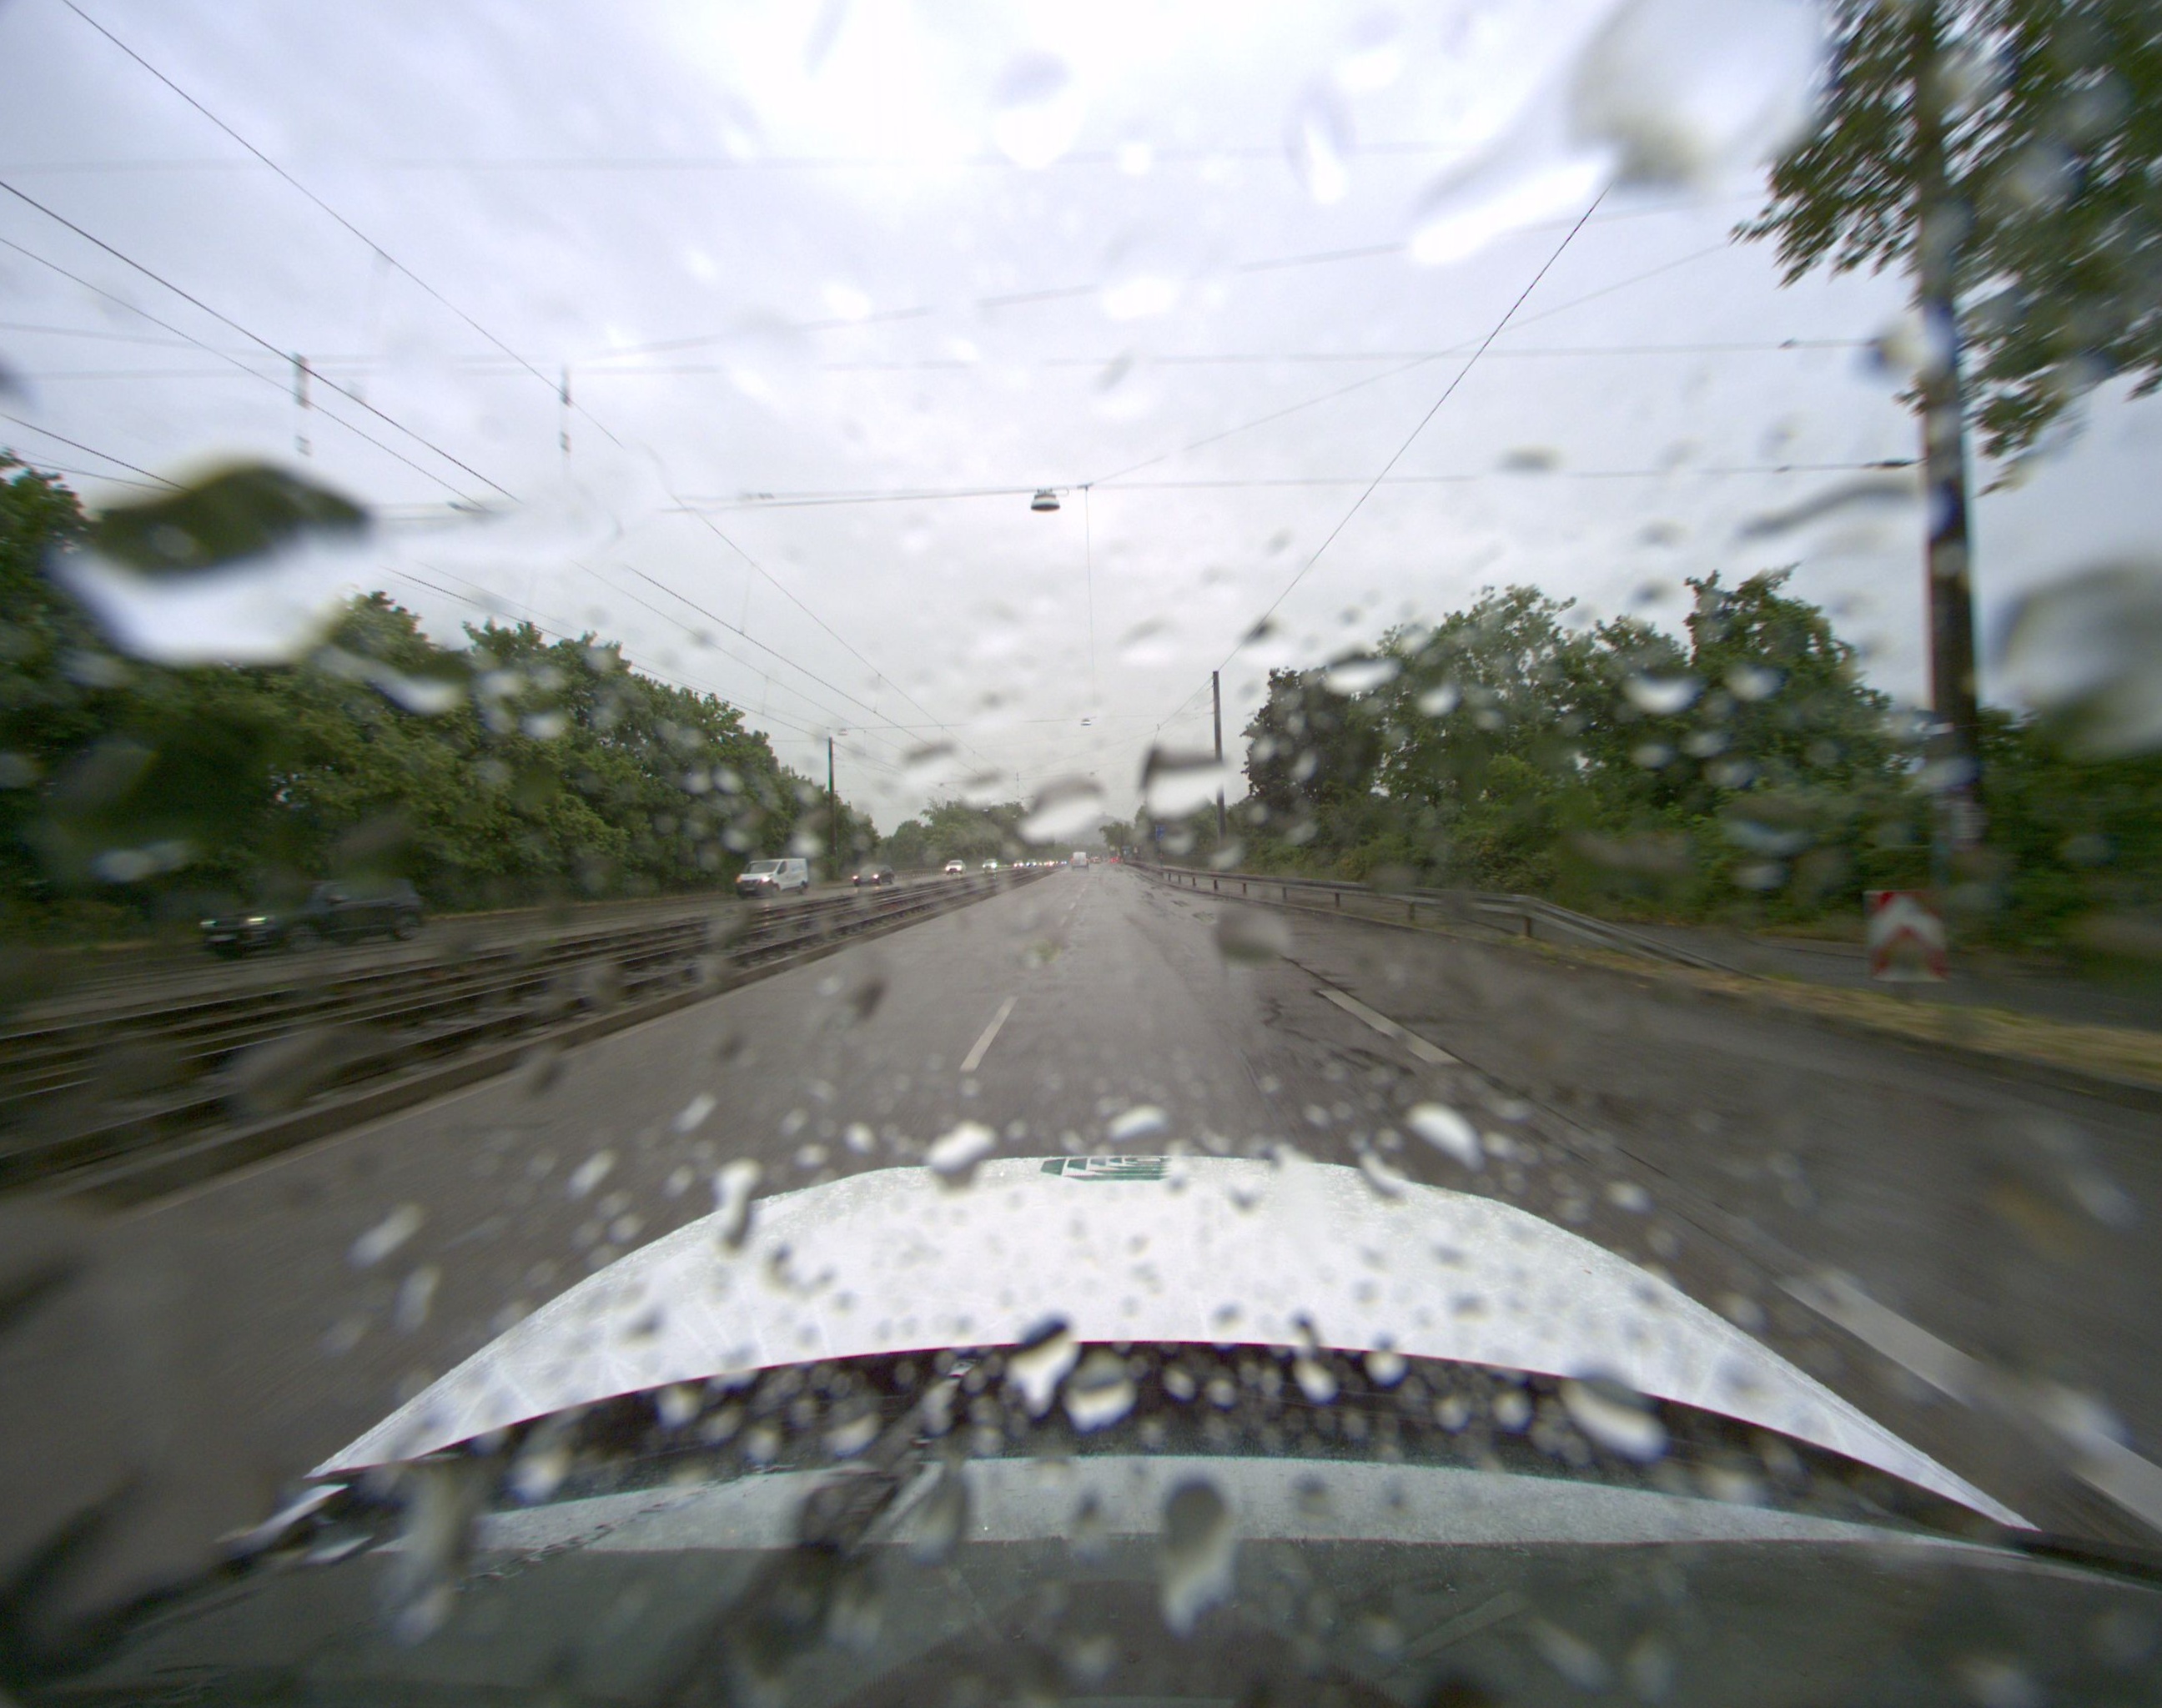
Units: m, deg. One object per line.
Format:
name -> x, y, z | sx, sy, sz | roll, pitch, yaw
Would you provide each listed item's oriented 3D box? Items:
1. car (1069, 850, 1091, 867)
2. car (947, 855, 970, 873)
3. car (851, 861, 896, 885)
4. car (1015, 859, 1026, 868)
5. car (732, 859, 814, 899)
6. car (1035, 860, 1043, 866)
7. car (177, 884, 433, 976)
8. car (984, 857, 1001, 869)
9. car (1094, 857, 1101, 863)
car -> -0.089, 0.414, 84.090 | 1.981, 1.684, 3.743 | -1, 1, 3
car -> -13.193, 1.059, 87.677 | 1.748, 1.711, 4.001 | -1, 1, 1
car -> -14.721, 1.314, 58.069 | 1.681, 1.519, 4.617 | -1, 1, 5
car -> -11.646, 1.838, 156.542 | 1.737, 1.508, 3.701 | -1, 1, 1
car -> -15.754, 1.235, 42.004 | 2.031, 1.775, 4.990 | -1, 1, 3
car -> -10.340, 2.197, 202.493 | 1.737, 1.508, 3.701 | -1, 1, 1
car -> -17.984, 1.680, 19.205 | 1.832, 1.716, 4.168 | -1, 1, 5
car -> -12.349, 1.249, 113.716 | 1.790, 1.453, 4.197 | -1, 1, 2
car -> 4.413, 1.488, 218.520 | 1.737, 1.508, 3.701 | -1, 1, 1
